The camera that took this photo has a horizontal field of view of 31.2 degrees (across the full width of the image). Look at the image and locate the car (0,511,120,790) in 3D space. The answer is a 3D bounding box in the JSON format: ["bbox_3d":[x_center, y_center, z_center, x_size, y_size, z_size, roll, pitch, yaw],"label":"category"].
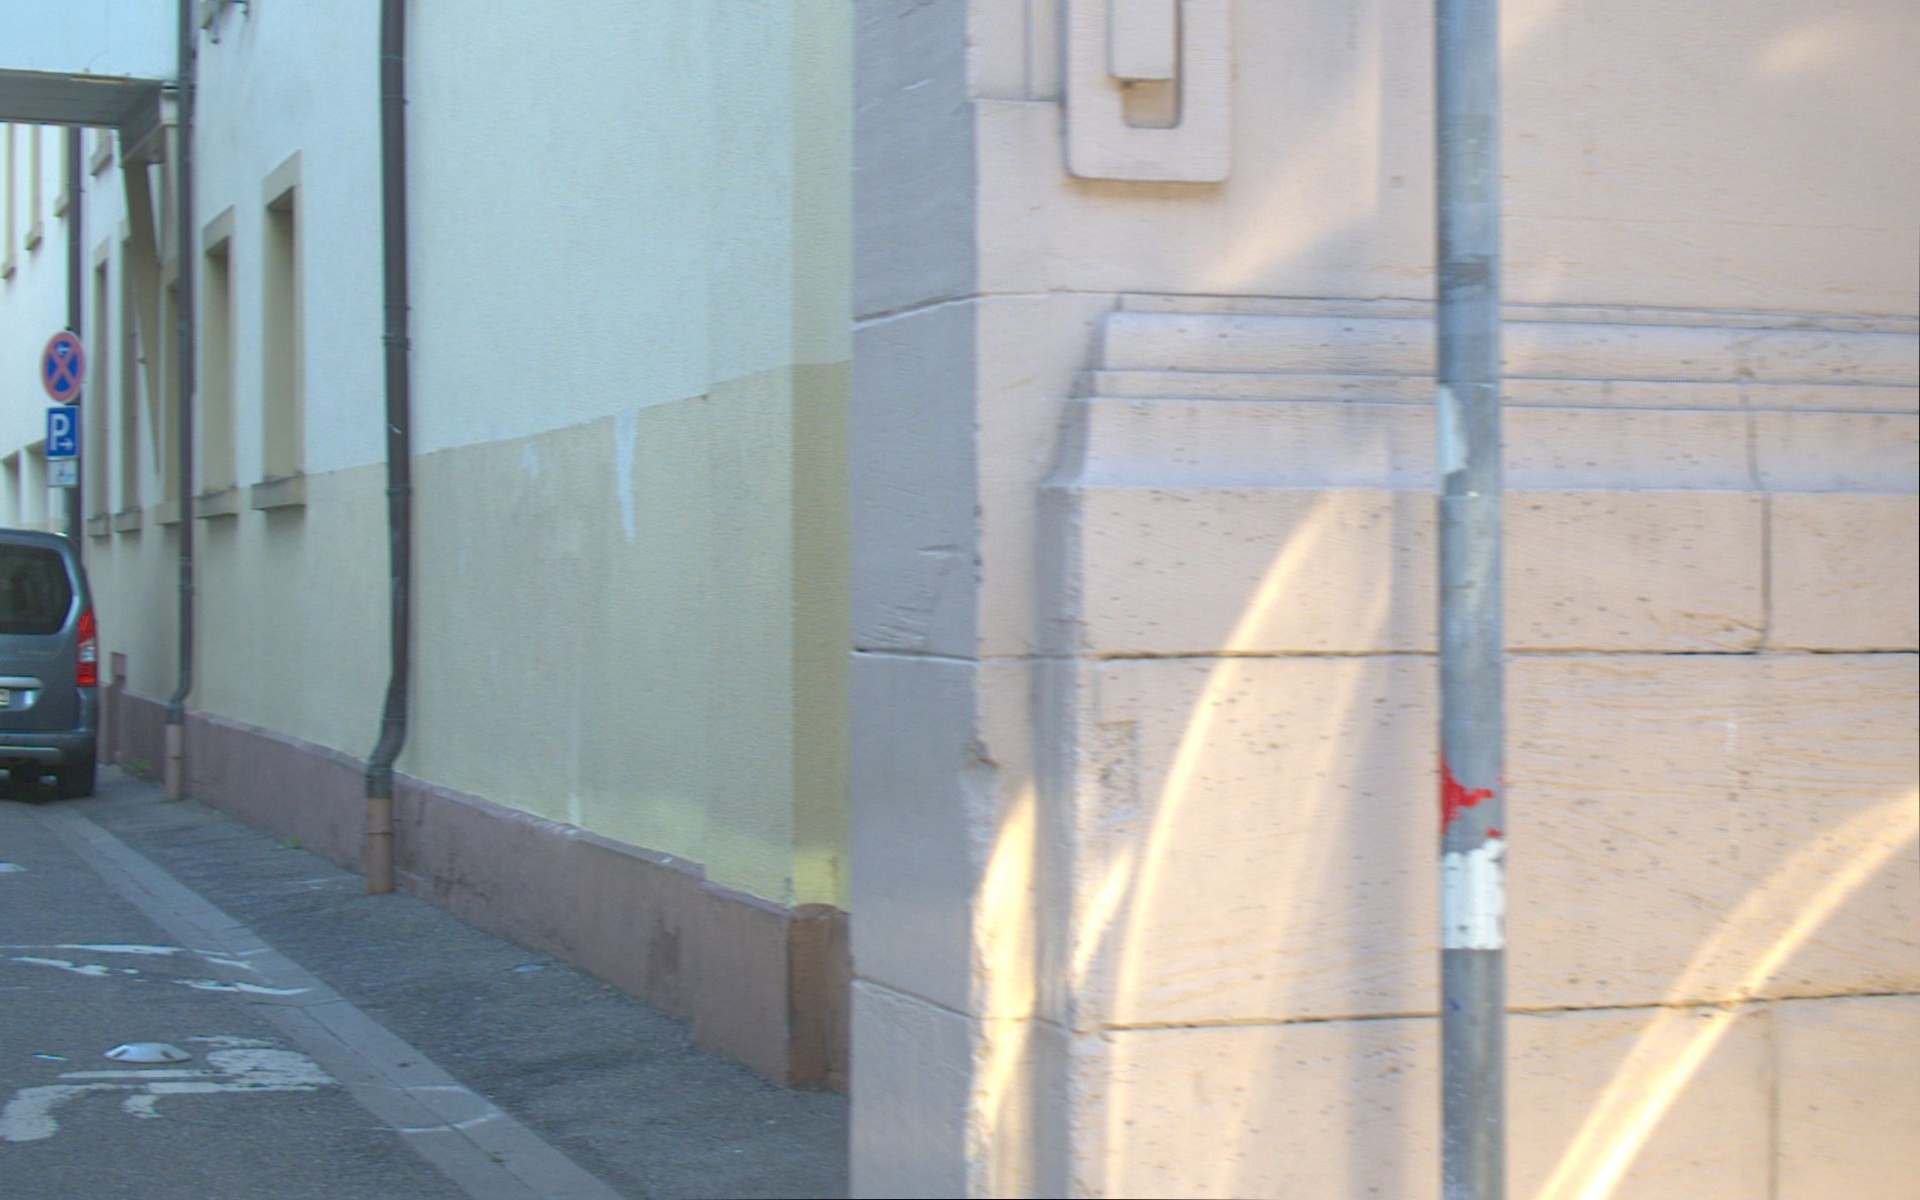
[{"bbox_3d":[-7.092,0.282,23.743,1.854,1.750,4.163,3,-1,-22],"label":"car"}]
